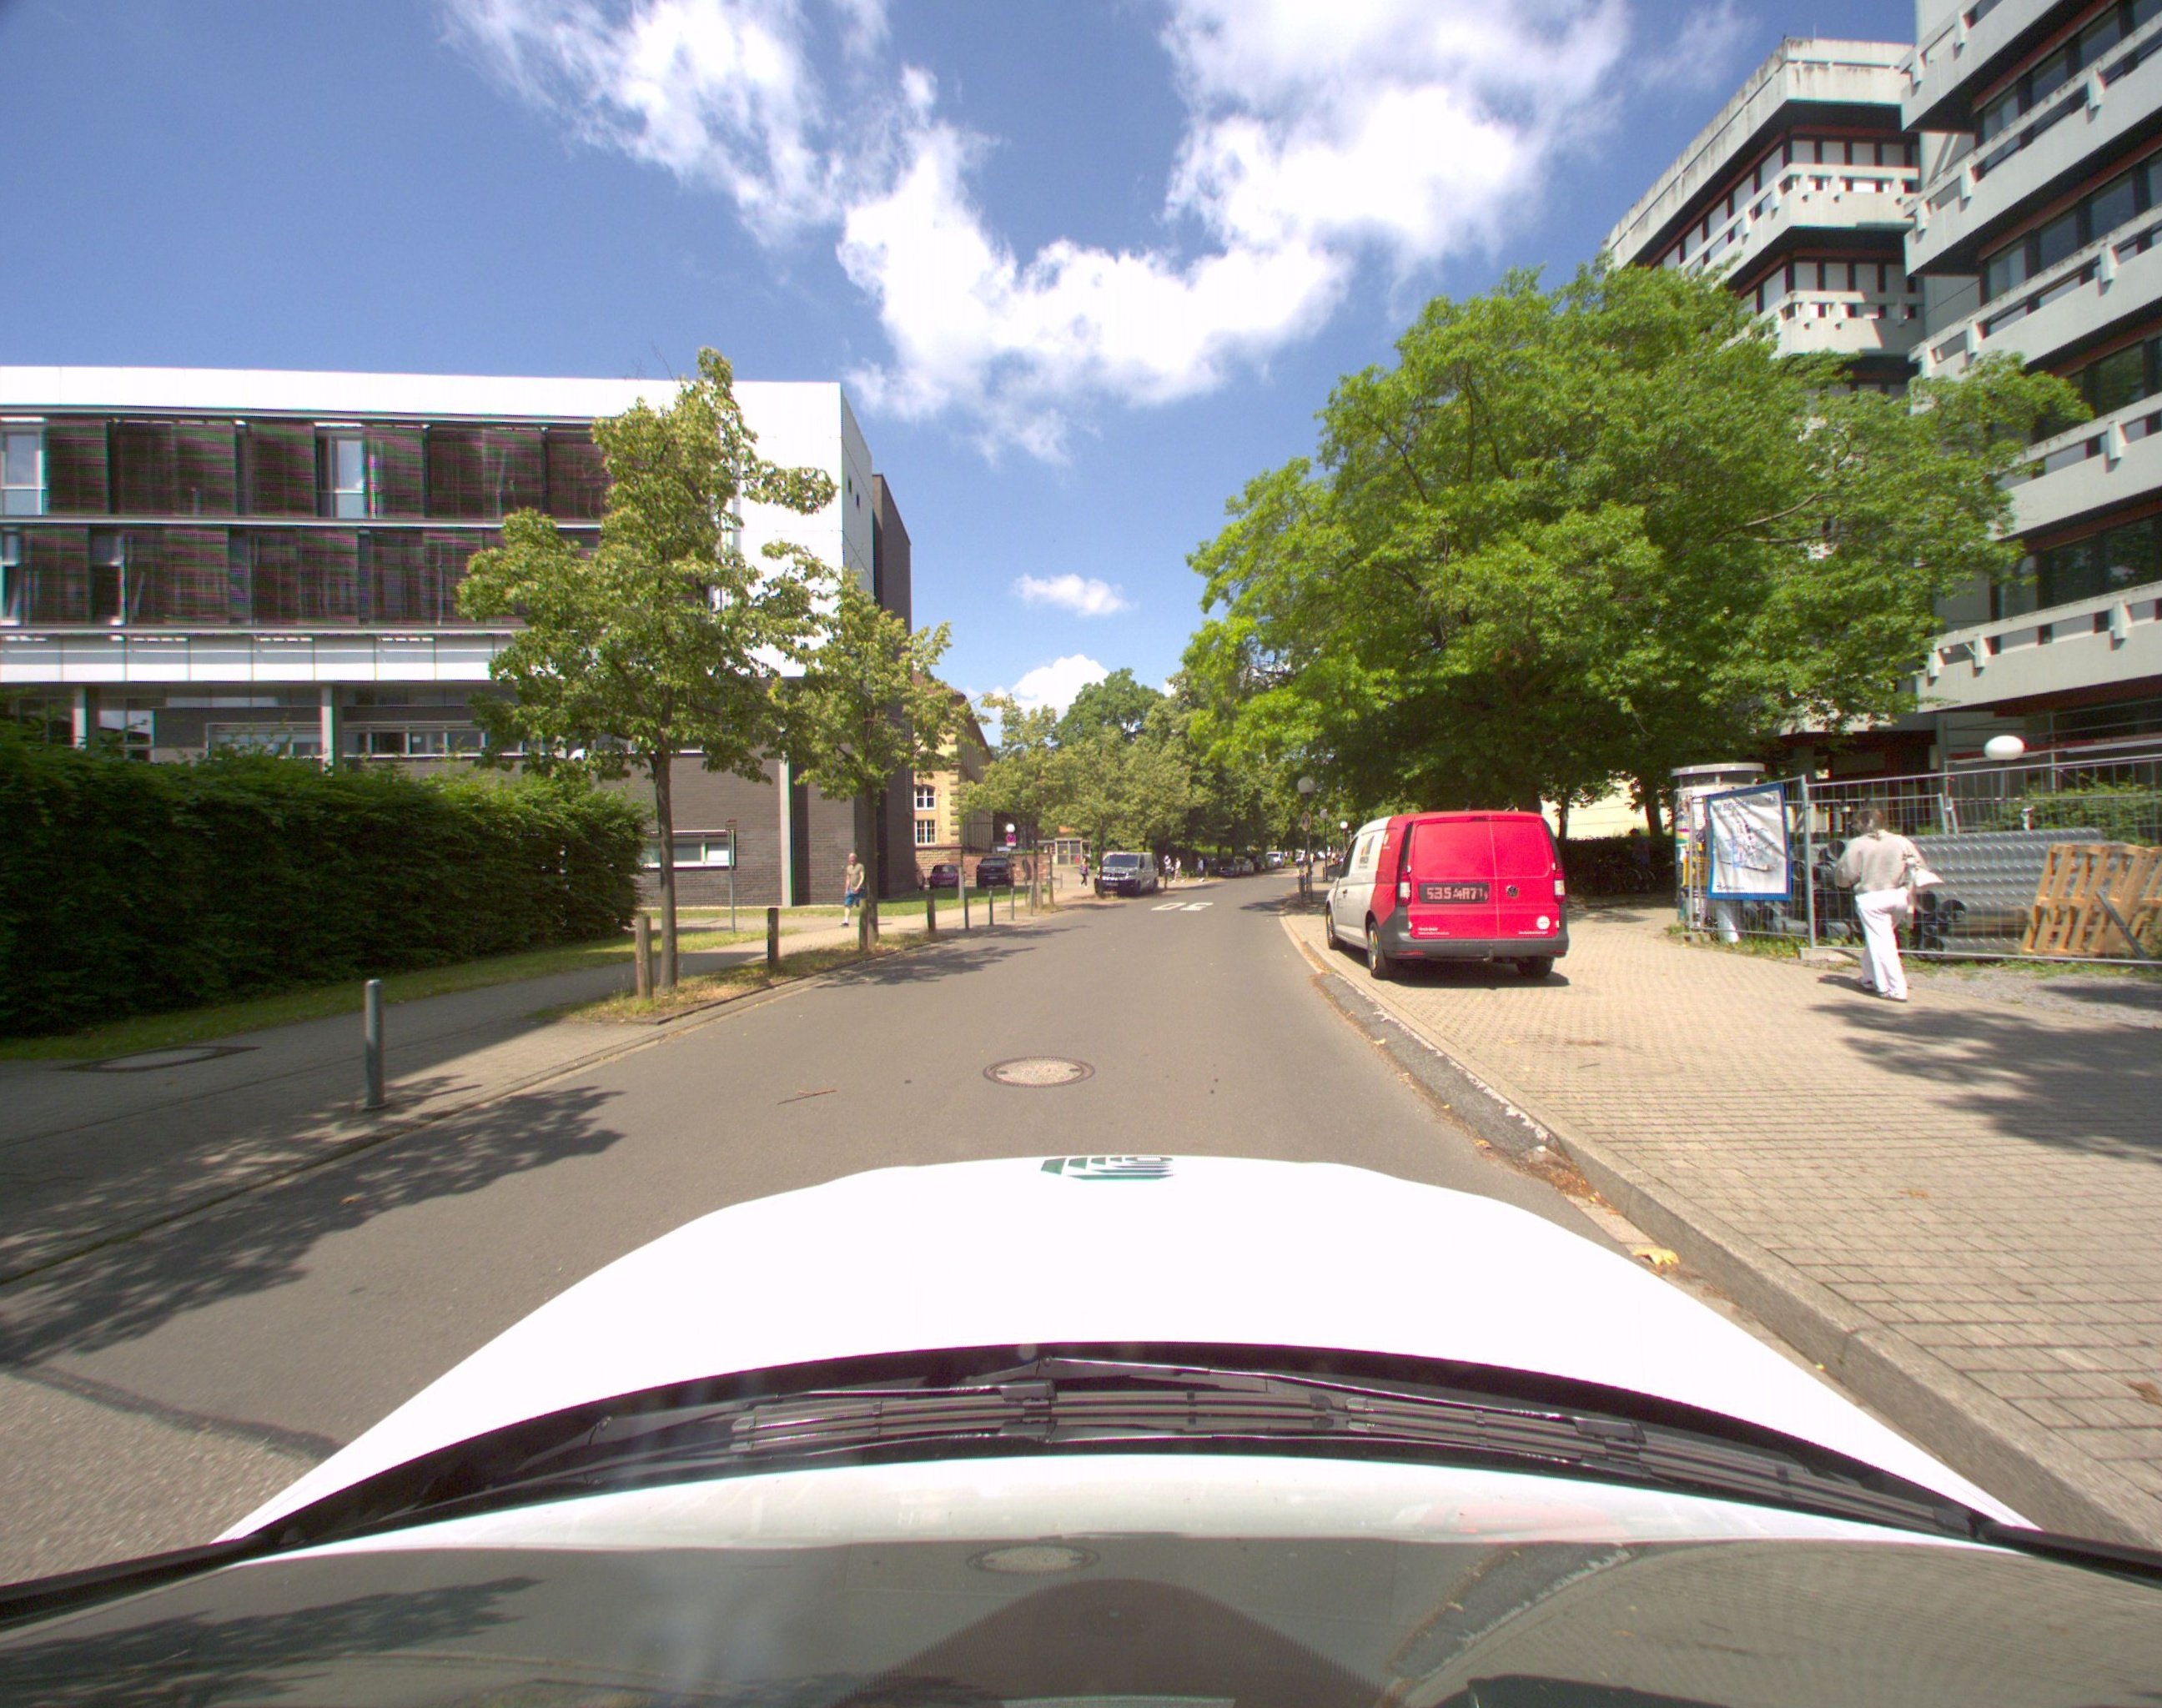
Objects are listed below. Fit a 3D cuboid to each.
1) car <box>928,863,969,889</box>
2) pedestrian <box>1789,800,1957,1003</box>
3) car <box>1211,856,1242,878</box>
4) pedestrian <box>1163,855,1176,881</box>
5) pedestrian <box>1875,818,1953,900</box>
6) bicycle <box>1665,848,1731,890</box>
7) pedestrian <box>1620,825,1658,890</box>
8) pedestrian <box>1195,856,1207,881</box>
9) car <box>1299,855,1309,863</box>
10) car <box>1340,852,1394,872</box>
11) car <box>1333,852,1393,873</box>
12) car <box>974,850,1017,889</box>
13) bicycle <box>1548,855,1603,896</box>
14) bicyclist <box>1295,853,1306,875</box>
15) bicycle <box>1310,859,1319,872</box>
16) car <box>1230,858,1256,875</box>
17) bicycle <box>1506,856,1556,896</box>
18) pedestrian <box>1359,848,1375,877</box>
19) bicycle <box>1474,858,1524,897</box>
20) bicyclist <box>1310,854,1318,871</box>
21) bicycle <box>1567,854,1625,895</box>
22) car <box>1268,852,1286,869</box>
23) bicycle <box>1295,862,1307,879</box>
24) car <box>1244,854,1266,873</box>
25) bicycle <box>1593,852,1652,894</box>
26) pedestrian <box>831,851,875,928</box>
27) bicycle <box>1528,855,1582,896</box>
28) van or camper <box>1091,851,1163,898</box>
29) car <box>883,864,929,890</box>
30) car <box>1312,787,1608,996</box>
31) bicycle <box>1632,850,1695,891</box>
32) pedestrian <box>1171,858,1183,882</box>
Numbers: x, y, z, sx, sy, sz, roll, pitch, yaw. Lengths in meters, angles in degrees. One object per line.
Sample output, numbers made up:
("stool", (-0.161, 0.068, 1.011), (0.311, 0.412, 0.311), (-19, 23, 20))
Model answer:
("car", (-7.192, 1.161, 44.458), (1.813, 1.324, 3.763), (-1, 0, -4))
("pedestrian", (6.733, 0.391, 6.966), (0.709, 1.631, 0.713), (-2, -1, 8))
("car", (11.127, 0.975, 62.063), (1.746, 1.522, 4.131), (-2, -1, 18))
("pedestrian", (5.867, 0.907, 53.798), (0.629, 1.663, 0.599), (-1, -1, -22))
("pedestrian", (17.211, 0.106, 16.839), (0.827, 1.635, 0.722), (-1, -1, -5))
("bicycle", (17.296, 0.417, 22.882), (0.496, 1.119, 1.873), (-1, -1, 3))
("pedestrian", (15.963, 0.103, 23.316), (0.541, 1.837, 0.762), (-1, -1, 4))
("pedestrian", (7.960, 0.964, 54.006), (0.497, 1.585, 0.489), (-1, -1, -31))
("car", (40.554, 0.835, 147.983), (1.603, 1.365, 4.582), (-2, 0, 17))
("car", (24.562, 0.702, 70.005), (4.221, 1.588, 1.819), (-3, -1, 19))
("car", (22.637, 0.674, 65.453), (4.448, 1.525, 1.819), (-3, -1, 19))
("car", (-4.628, 0.830, 44.641), (2.171, 1.926, 5.177), (-1, 0, -5))
("bicycle", (14.178, 0.601, 23.417), (0.496, 1.119, 1.873), (-1, -1, 3))
("bicyclist", (13.127, 0.620, 48.679), (0.604, 1.296, 0.613), (-2, -1, 18))
("bicycle", (18.615, 0.908, 64.925), (0.609, 1.001, 1.430), (-2, 0, 18))
("car", (13.794, 1.067, 69.263), (1.603, 1.388, 4.019), (-2, -1, 18))
("bicycle", (13.144, 0.633, 23.847), (0.496, 1.119, 1.873), (-1, -1, 3))
("pedestrian", (17.584, 0.526, 50.065), (0.814, 1.755, 0.845), (-1, -1, 23))
("bicycle", (12.582, 0.682, 24.569), (0.616, 1.119, 1.873), (-1, -1, 3))
("bicyclist", (18.570, 0.671, 64.968), (0.518, 1.296, 0.613), (-2, -1, 18))
("bicycle", (14.748, 0.573, 23.364), (0.496, 1.119, 1.941), (-1, -1, 3))
("car", (22.101, 0.747, 91.917), (1.603, 1.816, 4.019), (-2, -1, 18))
("bicycle", (13.141, 0.993, 48.693), (0.609, 1.001, 1.430), (-2, -1, 18))
("car", (16.594, 0.892, 77.531), (1.603, 1.679, 4.019), (-2, -1, 18))
("bicycle", (15.403, 0.532, 23.229), (0.496, 1.119, 1.873), (-1, -1, 3))
("pedestrian", (-5.333, 0.812, 19.071), (0.579, 1.764, 0.915), (-2, -1, 15))
("bicycle", (13.648, 0.599, 23.504), (0.496, 1.119, 1.938), (-1, -1, 3))
("van or camper", (2.182, 0.858, 36.775), (1.938, 1.923, 5.444), (0, 0, 17))
("car", (-9.450, 1.224, 44.235), (1.813, 1.324, 4.157), (1, -1, -4))
("car", (4.191, 0.365, 9.991), (1.838, 1.891, 4.900), (-2, 0, 7))
("bicycle", (16.549, 0.465, 23.194), (0.496, 1.119, 1.873), (-1, -1, 3))
("pedestrian", (6.196, 1.014, 52.516), (0.585, 1.527, 0.491), (-1, -1, -15))
